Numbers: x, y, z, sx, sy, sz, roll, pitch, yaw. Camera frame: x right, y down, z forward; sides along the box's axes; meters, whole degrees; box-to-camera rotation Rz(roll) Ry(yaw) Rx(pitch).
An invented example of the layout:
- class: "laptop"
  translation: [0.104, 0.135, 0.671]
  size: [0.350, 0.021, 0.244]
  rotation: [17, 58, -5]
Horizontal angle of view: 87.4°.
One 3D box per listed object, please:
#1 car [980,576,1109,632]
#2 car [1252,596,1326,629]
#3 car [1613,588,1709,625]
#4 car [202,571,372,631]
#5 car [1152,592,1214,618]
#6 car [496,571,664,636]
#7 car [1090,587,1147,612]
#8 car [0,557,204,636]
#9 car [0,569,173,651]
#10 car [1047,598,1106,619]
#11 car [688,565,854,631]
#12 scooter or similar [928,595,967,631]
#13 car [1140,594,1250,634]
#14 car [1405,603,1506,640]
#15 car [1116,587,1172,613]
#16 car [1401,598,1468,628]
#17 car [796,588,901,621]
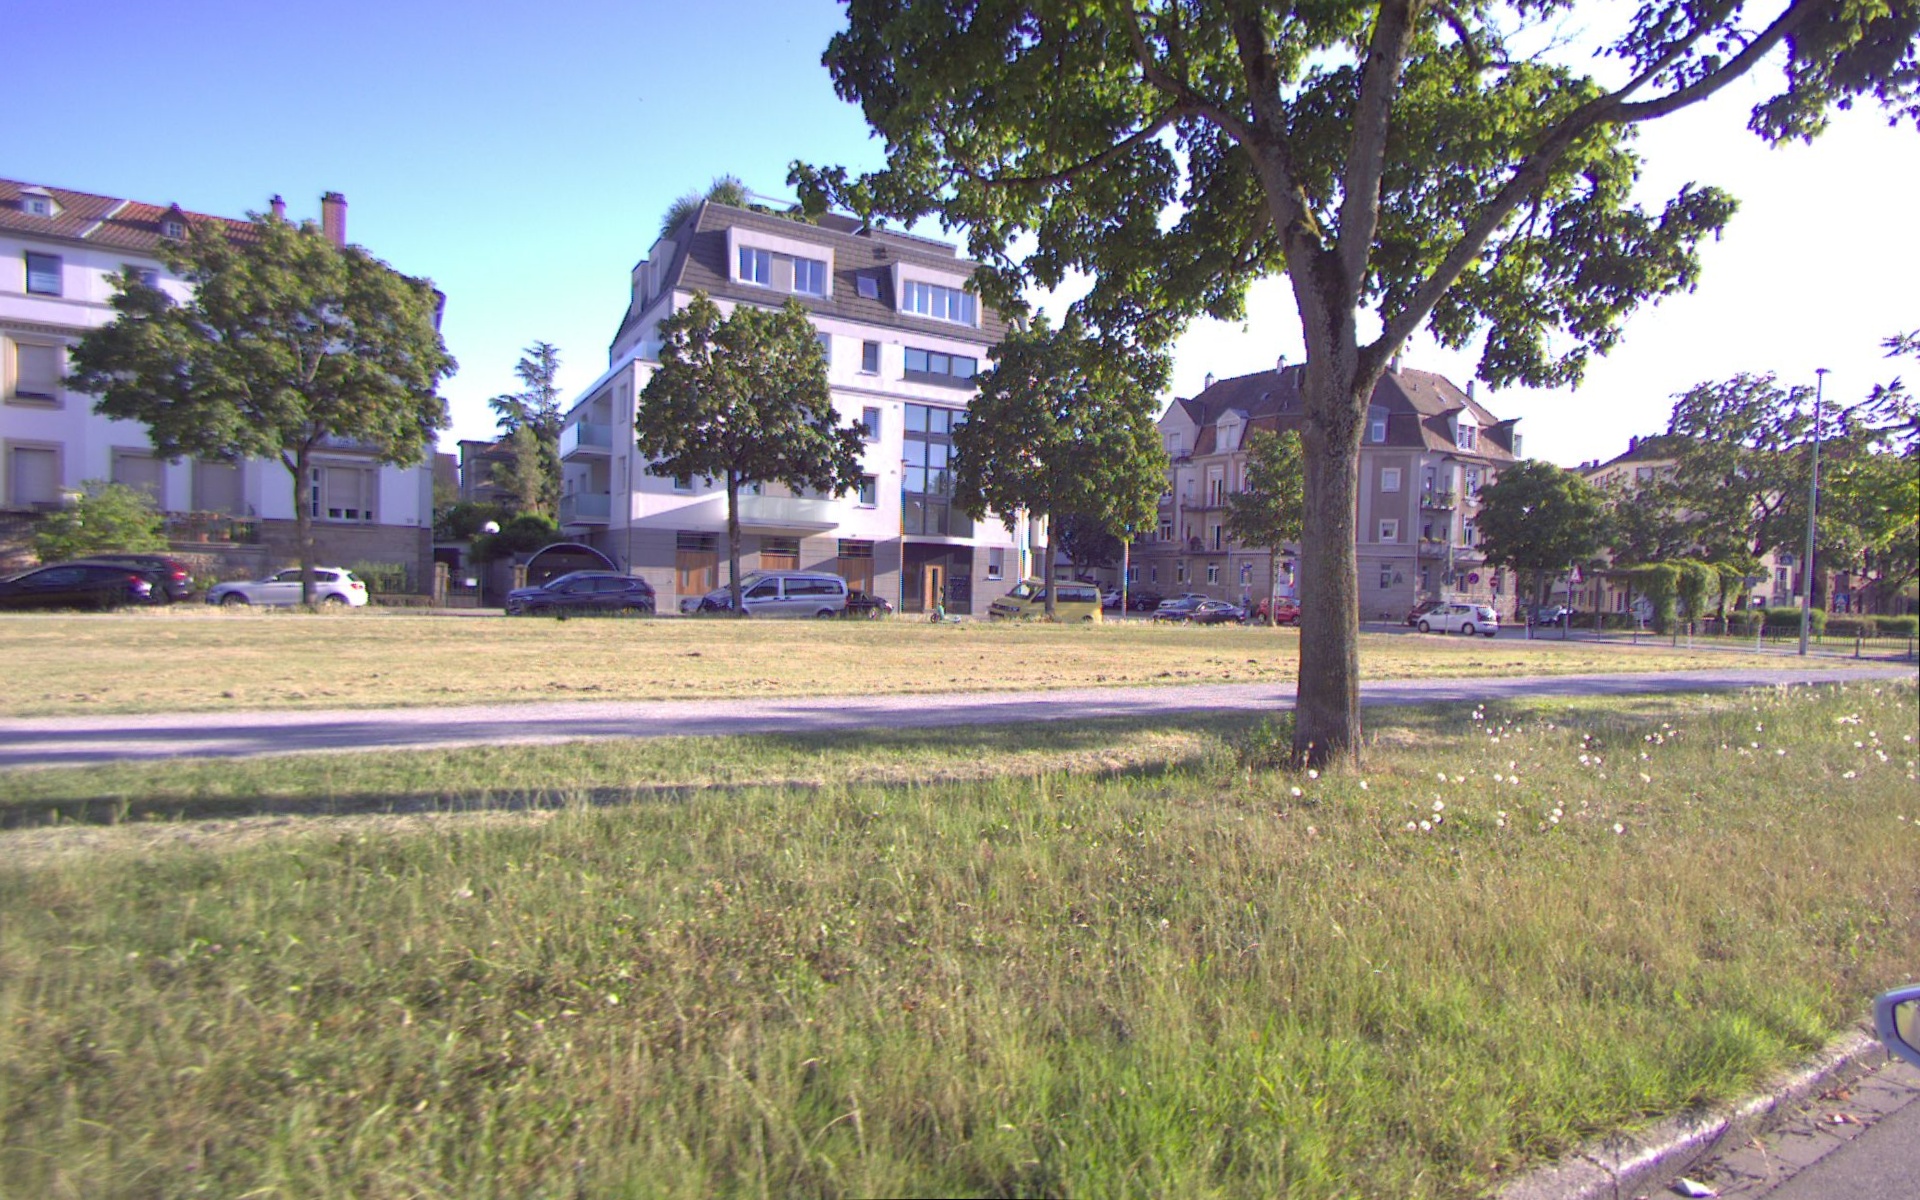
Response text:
- class: "car"
  translation: [3.441, 0.223, 40.513]
  size: [4.992, 2.084, 1.985]
  rotation: [2, -3, -30]
- class: "car"
  translation: [17.041, 0.611, 52.231]
  size: [1.662, 1.501, 3.573]
  rotation: [-1, 2, -25]
- class: "car"
  translation: [57.063, 0.486, 81.916]
  size: [6.202, 2.757, 1.999]
  rotation: [2, 1, 30]
- class: "car"
  translation: [-21.699, 0.093, 32.623]
  size: [4.406, 1.767, 1.813]
  rotation: [2, -3, -30]
- class: "car"
  translation: [15.244, 0.356, 68.661]
  size: [4.027, 1.658, 1.690]
  rotation: [2, -3, -29]
- class: "car"
  translation: [-11.851, 0.175, 31.415]
  size: [4.637, 1.852, 1.919]
  rotation: [2, -3, -30]
- class: "car"
  translation: [11.826, -0.039, 74.950]
  size: [4.029, 1.696, 1.689]
  rotation: [2, -3, -30]
- class: "car"
  translation: [-25.960, -0.035, 30.197]
  size: [4.795, 2.158, 2.228]
  rotation: [2, -3, -29]
- class: "car"
  translation: [-22.648, 0.288, 25.203]
  size: [4.277, 1.941, 1.881]
  rotation: [2, -3, -31]
- class: "car"
  translation: [7.318, 0.530, 63.507]
  size: [1.674, 1.235, 3.968]
  rotation: [1, 1, -30]
- class: "car"
  translation: [-6.489, 0.004, 34.845]
  size: [5.315, 2.027, 2.007]
  rotation: [2, -3, -34]
- class: "scooter or similar"
  translation: [-0.415, 0.426, 33.267]
  size: [1.285, 1.142, 0.389]
  rotation: [1, 2, -38]
- class: "car"
  translation: [10.545, 0.678, 45.034]
  size: [4.769, 1.658, 1.975]
  rotation: [2, -3, -29]
- class: "car"
  translation: [23.314, 1.057, 47.372]
  size: [1.975, 1.617, 3.879]
  rotation: [2, -3, -27]
- class: "car"
  translation: [13.361, 0.019, 72.917]
  size: [3.921, 1.739, 1.591]
  rotation: [1, 1, -29]
- class: "car"
  translation: [29.558, 0.855, 62.549]
  size: [4.242, 1.729, 1.636]
  rotation: [2, -3, -29]
- class: "car"
  translation: [-4.765, 0.190, 42.812]
  size: [4.011, 1.295, 1.986]
  rotation: [1, 1, -28]
